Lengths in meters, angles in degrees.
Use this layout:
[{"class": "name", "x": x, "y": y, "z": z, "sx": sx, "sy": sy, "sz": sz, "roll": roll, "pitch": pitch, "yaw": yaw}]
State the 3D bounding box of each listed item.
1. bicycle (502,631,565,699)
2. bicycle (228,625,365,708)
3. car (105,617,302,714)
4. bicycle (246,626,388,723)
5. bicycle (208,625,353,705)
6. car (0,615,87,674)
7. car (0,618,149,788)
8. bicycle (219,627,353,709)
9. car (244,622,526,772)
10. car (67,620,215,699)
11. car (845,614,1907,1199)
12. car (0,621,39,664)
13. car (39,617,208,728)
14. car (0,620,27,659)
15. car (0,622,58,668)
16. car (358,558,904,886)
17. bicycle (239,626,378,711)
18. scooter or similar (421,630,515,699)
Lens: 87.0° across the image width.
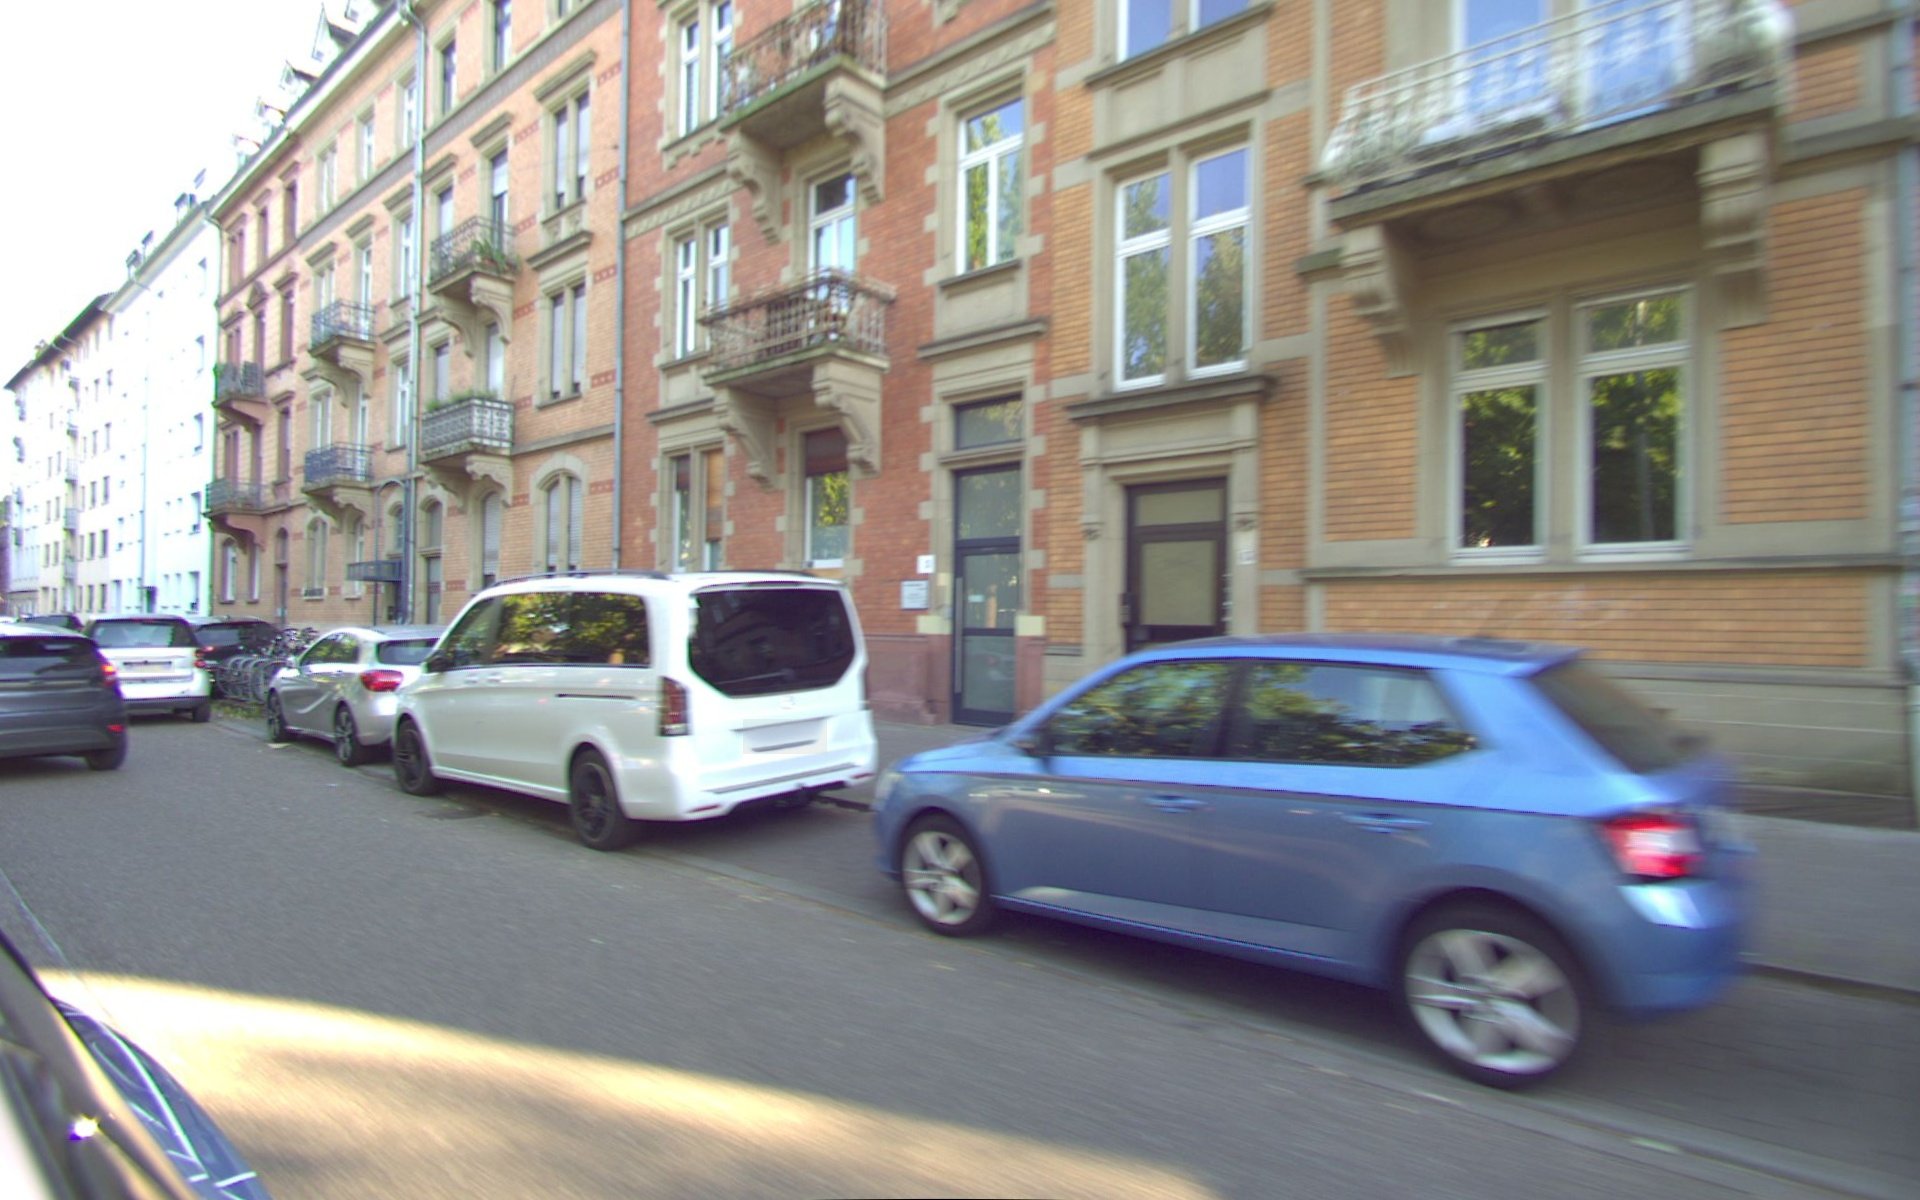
[{"class": "bicycle", "x": -7.866, "y": 1.174, "z": 18.645, "sx": 0.422, "sy": 1.139, "sz": 1.770, "roll": 1, "pitch": 0, "yaw": -45}, {"class": "bicycle", "x": -10.463, "y": 1.015, "z": 16.019, "sx": 0.464, "sy": 1.224, "sz": 1.744, "roll": 1, "pitch": 0, "yaw": 41}, {"class": "car", "x": -13.859, "y": 1.101, "z": 18.472, "sx": 4.143, "sy": 1.558, "sz": 1.731, "roll": -1, "pitch": 0, "yaw": 36}, {"class": "bicycle", "x": -9.739, "y": 1.098, "z": 15.384, "sx": 0.495, "sy": 1.358, "sz": 1.744, "roll": 1, "pitch": 0, "yaw": 41}, {"class": "bicycle", "x": -11.419, "y": 1.058, "z": 17.098, "sx": 0.439, "sy": 1.224, "sz": 2.076, "roll": 1, "pitch": 0, "yaw": 26}, {"class": "car", "x": -28.583, "y": 1.326, "z": 31.400, "sx": 4.199, "sy": 1.719, "sz": 1.733, "roll": -1, "pitch": -1, "yaw": 42}, {"class": "car", "x": -9.963, "y": 0.913, "z": 10.011, "sx": 3.984, "sy": 1.475, "sz": 1.656, "roll": 0, "pitch": -3, "yaw": 30}, {"class": "bicycle", "x": -10.858, "y": 1.067, "z": 16.351, "sx": 0.441, "sy": 1.224, "sz": 1.744, "roll": 1, "pitch": 0, "yaw": 41}, {"class": "car", "x": -6.924, "y": 1.024, "z": 11.998, "sx": 4.209, "sy": 1.465, "sz": 1.656, "roll": -1, "pitch": -4, "yaw": 43}, {"class": "car", "x": -17.526, "y": 1.196, "z": 21.603, "sx": 3.997, "sy": 1.475, "sz": 1.736, "roll": -1, "pitch": 0, "yaw": 40}, {"class": "car", "x": 1.451, "y": 0.829, "z": 4.551, "sx": 3.998, "sy": 1.497, "sz": 1.652, "roll": -1, "pitch": -1, "yaw": 41}, {"class": "car", "x": -36.035, "y": 1.568, "z": 38.082, "sx": 4.283, "sy": 1.482, "sz": 1.650, "roll": -1, "pitch": 1, "yaw": 43}, {"class": "car", "x": -12.152, "y": 1.001, "z": 14.671, "sx": 2.753, "sy": 1.446, "sz": 1.488, "roll": -1, "pitch": -4, "yaw": 43}, {"class": "car", "x": -39.752, "y": 1.597, "z": 41.581, "sx": 3.999, "sy": 1.519, "sz": 1.651, "roll": -1, "pitch": 1, "yaw": 42}, {"class": "car", "x": -32.565, "y": 1.522, "z": 35.123, "sx": 4.001, "sy": 1.463, "sz": 1.597, "roll": -1, "pitch": -1, "yaw": 44}, {"class": "car", "x": -2.969, "y": 0.688, "z": 8.384, "sx": 5.037, "sy": 1.935, "sz": 1.973, "roll": 1, "pitch": 0, "yaw": 41}, {"class": "bicycle", "x": -10.088, "y": 1.023, "z": 15.723, "sx": 0.428, "sy": 1.224, "sz": 1.744, "roll": 1, "pitch": 0, "yaw": 41}, {"class": "scooter or similar", "x": -10.118, "y": 1.288, "z": 20.751, "sx": 2.703, "sy": 1.231, "sz": 0.775, "roll": 1, "pitch": 0, "yaw": 42}]
